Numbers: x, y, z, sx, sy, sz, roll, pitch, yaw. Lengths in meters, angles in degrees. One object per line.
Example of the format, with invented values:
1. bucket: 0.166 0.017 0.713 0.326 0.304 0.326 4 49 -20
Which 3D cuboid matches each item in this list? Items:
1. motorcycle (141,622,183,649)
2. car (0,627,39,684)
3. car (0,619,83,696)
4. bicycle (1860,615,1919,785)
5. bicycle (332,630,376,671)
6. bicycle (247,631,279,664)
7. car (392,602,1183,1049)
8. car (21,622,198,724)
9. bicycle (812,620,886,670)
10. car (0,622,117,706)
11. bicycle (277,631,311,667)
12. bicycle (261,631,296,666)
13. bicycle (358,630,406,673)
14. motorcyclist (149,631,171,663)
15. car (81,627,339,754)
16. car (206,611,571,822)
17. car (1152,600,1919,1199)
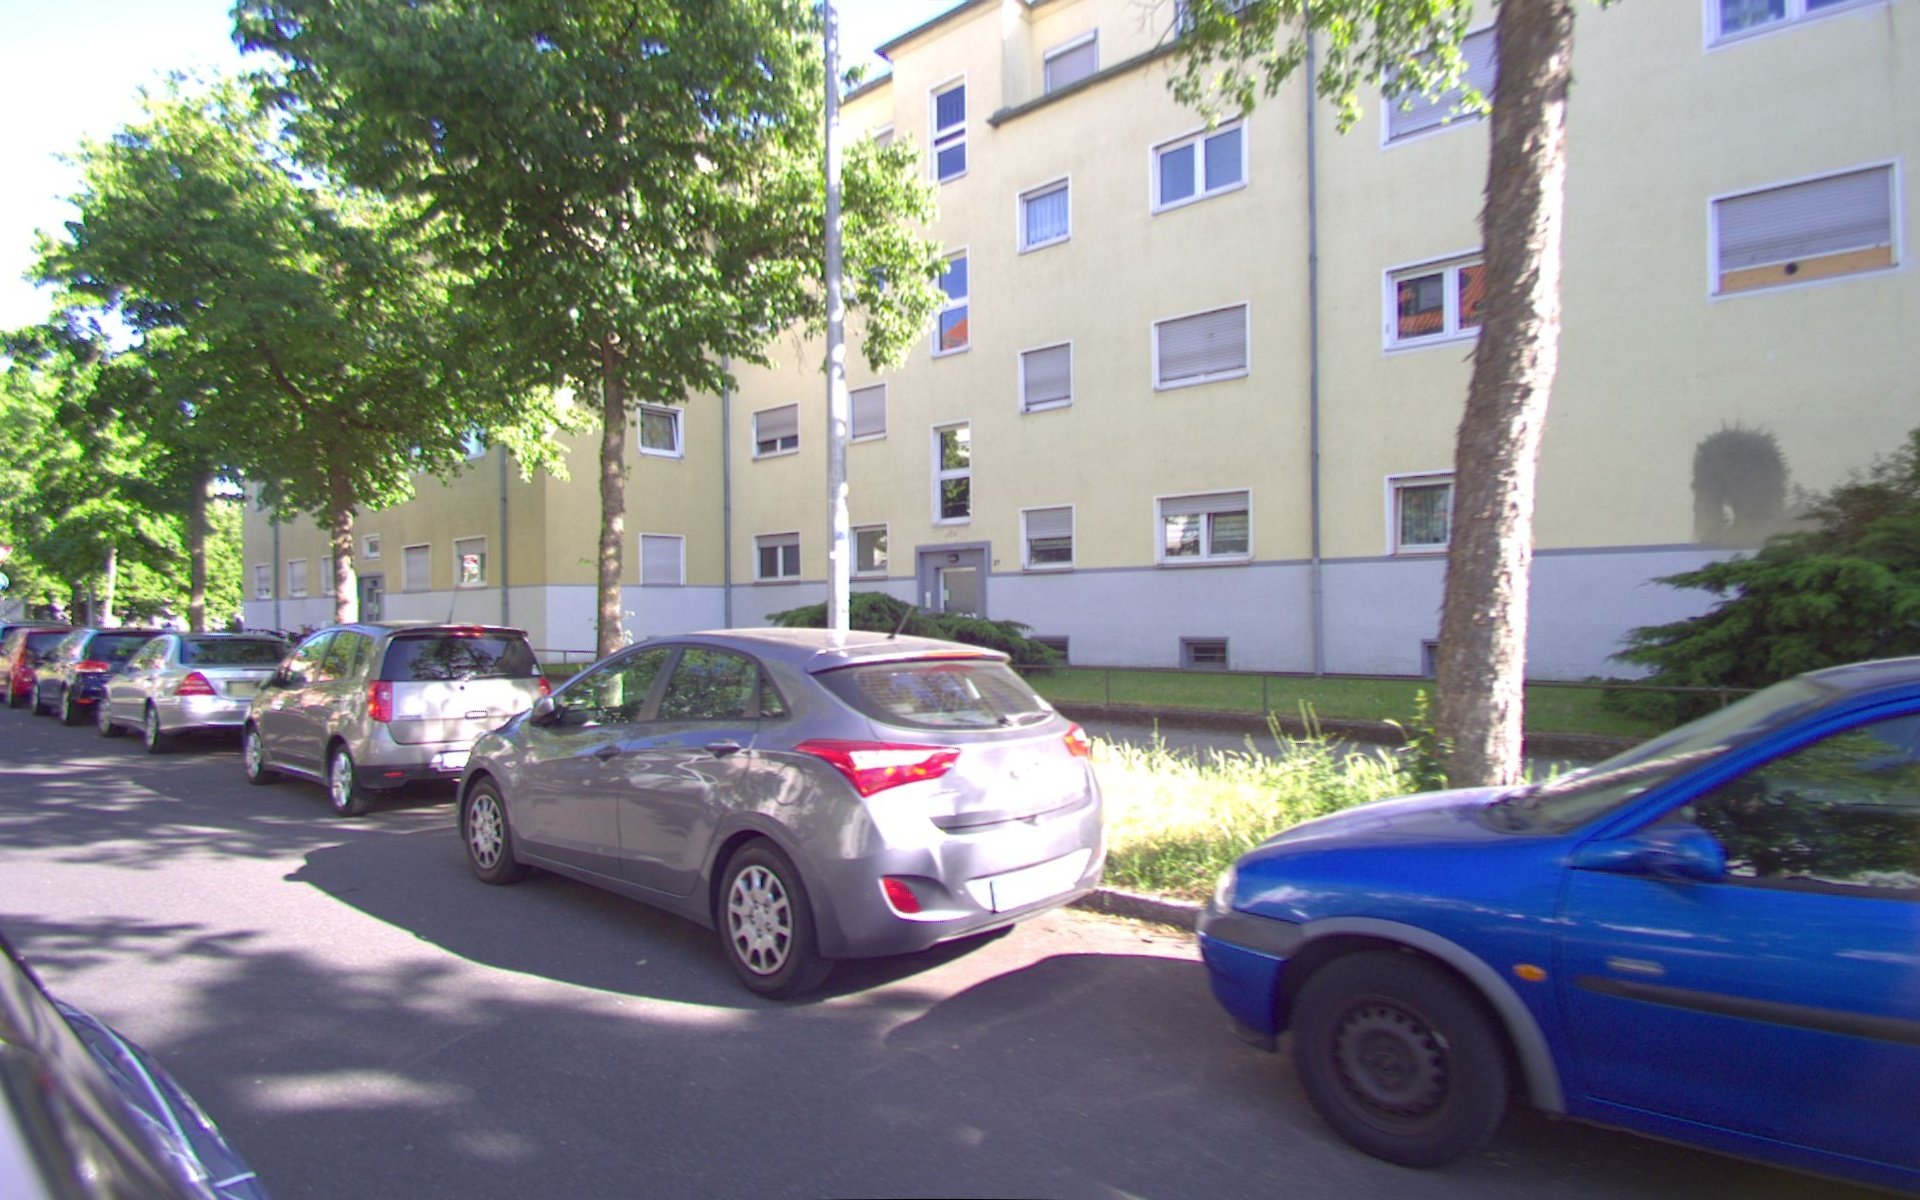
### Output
1. motorcycle: -35.612 1.572 45.206 0.547 1.184 1.631 -1 -1 3
2. car: -26.234 1.466 27.035 3.988 1.453 1.743 -2 -1 37
3. car: -21.399 1.250 22.822 4.730 1.577 1.675 -2 -1 39
4. bicycle: 7.135 0.647 6.610 1.829 1.089 0.484 -1 1 17
5. bicycle: -16.180 1.333 26.998 1.748 1.034 0.534 -2 -1 42
6. bicycle: -21.949 1.488 31.876 1.680 1.008 0.430 -2 -1 41
7. car: -1.301 0.809 5.561 4.687 1.455 1.772 -2 -3 42
8. car: -14.127 1.127 16.746 3.930 1.470 1.647 -2 -1 41
9. bicycle: -2.191 0.884 20.160 0.480 0.938 1.617 -2 -2 37
10. car: -17.918 1.198 19.845 3.254 1.497 1.647 -2 -1 41
11. bicycle: -19.369 1.417 29.433 1.545 1.008 0.509 -2 -2 44
12. bicycle: -20.592 1.452 30.568 1.544 1.008 0.506 -2 -1 41
13. bicycle: -14.712 1.295 25.743 1.748 1.034 0.530 -2 -1 42
14. motorcyclist: -35.620 2.077 45.061 0.546 1.413 0.519 0 -3 0
15. car: -9.920 1.054 13.245 4.671 1.379 1.727 -2 -2 41
16. car: -5.428 0.920 9.370 4.267 1.527 1.603 -2 -3 41
17. car: 2.519 0.703 2.583 3.723 1.406 1.505 -1 -1 39
